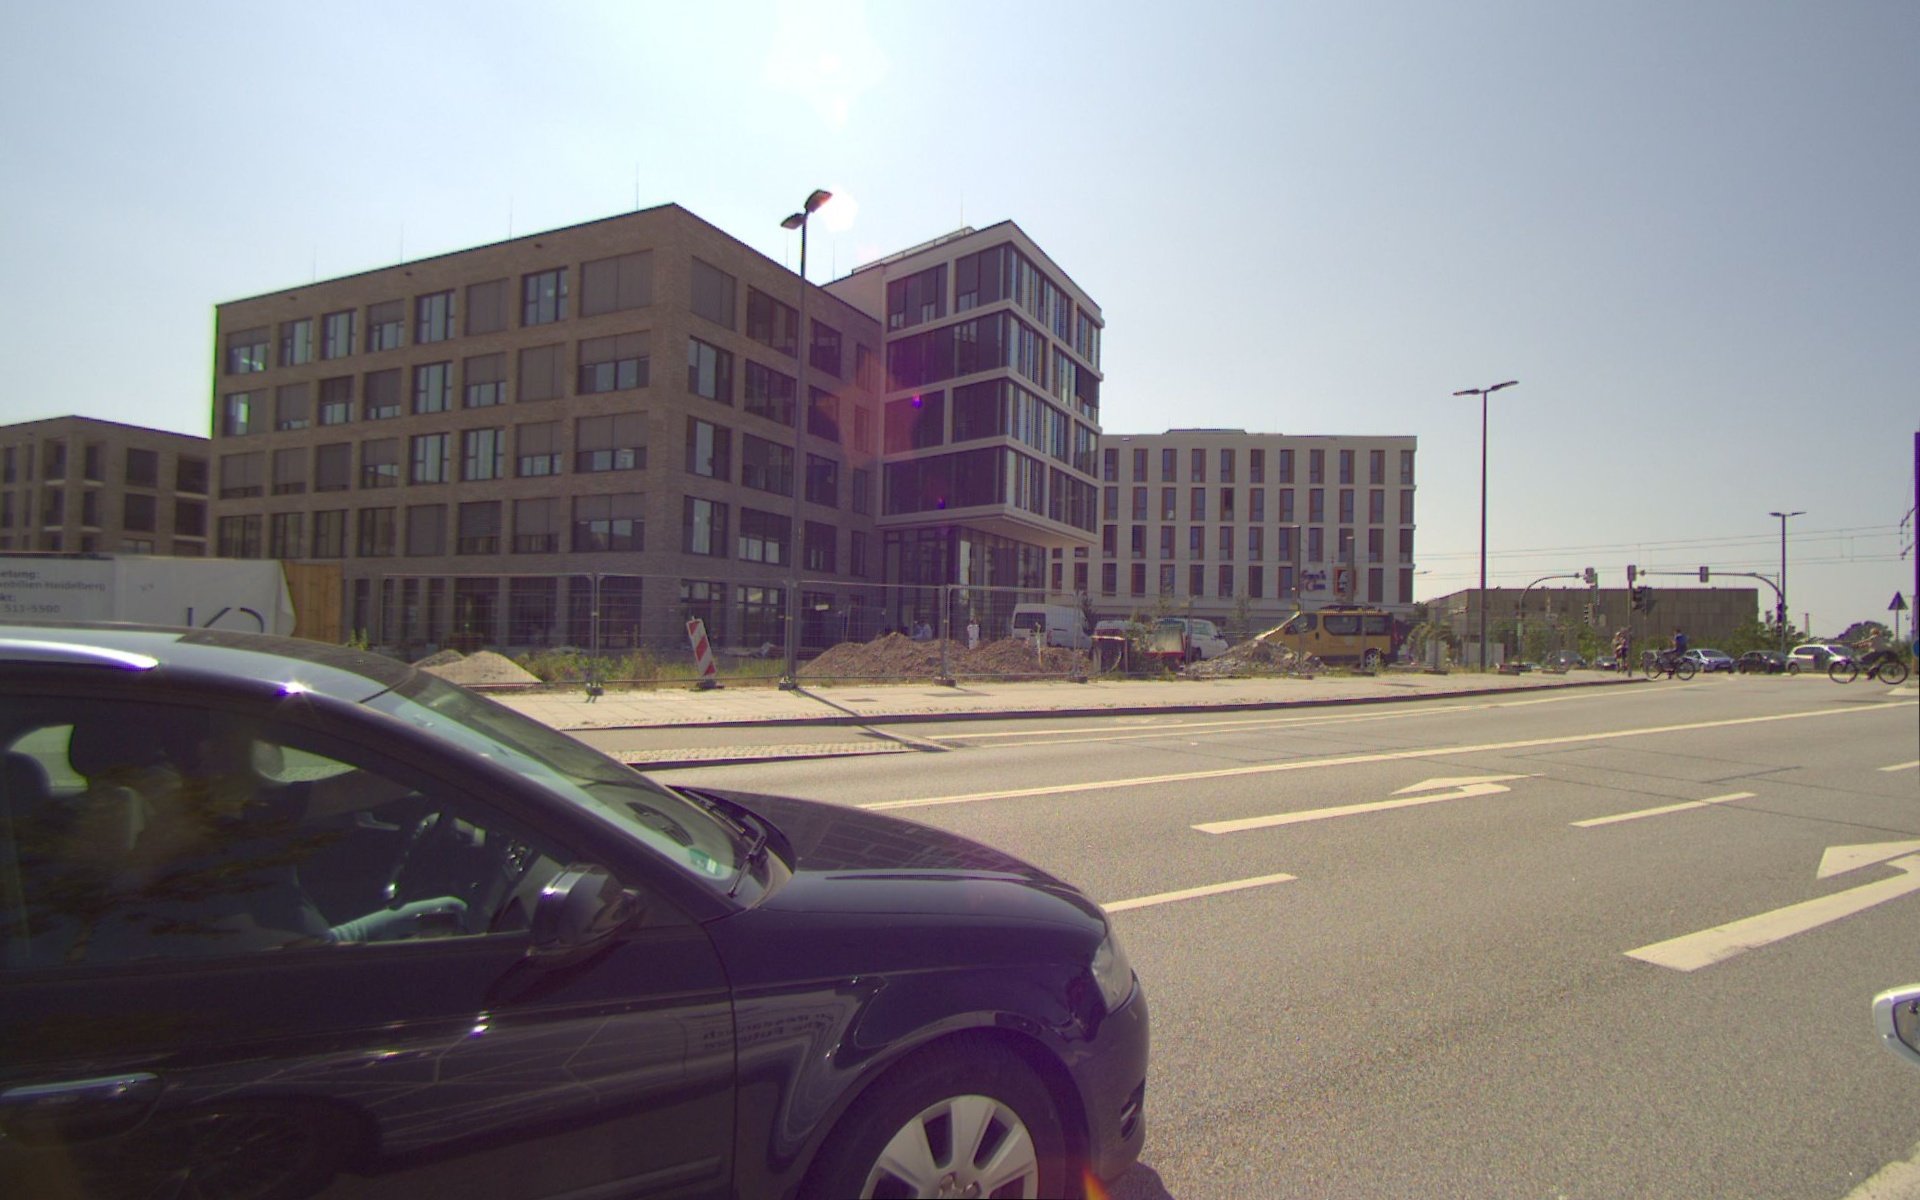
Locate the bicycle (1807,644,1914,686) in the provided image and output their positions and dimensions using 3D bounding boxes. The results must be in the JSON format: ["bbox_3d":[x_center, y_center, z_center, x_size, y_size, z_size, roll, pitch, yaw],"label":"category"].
[{"bbox_3d":[27.711,1.981,30.954,0.670,1.142,2.342,2,0,-34],"label":"bicycle"}]

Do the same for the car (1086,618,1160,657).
[{"bbox_3d":[7.138,1.598,43.678,1.773,1.528,3.991,2,0,31],"label":"car"}]

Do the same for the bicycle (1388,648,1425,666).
[{"bbox_3d":[31.306,4.013,70.441,2.279,1.148,0.637,2,-1,9],"label":"bicycle"}]

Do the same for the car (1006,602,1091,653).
[{"bbox_3d":[4.004,1.221,44.716,2.175,2.083,4.164,2,0,30],"label":"car"}]

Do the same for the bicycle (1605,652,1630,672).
[{"bbox_3d":[25.599,2.395,39.118,0.506,0.701,2.251,1,-1,26],"label":"bicycle"}]

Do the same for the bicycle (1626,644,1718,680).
[{"bbox_3d":[25.034,2.213,35.381,0.720,1.148,2.512,-1,-4,-32],"label":"bicycle"}]

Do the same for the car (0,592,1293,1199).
[{"bbox_3d":[-1.370,0.733,2.071,3.953,1.430,1.697,2,0,-30],"label":"car"}]

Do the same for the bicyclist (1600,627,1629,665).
[{"bbox_3d":[27.084,1.884,41.554,0.654,1.522,0.834,2,0,-40],"label":"bicyclist"}]

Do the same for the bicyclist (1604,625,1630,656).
[{"bbox_3d":[25.584,1.574,39.149,0.717,1.191,0.658,2,0,25],"label":"bicyclist"}]

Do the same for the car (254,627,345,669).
[{"bbox_3d":[-30.419,2.170,46.232,3.708,1.675,1.834,2,0,26],"label":"car"}]

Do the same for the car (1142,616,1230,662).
[{"bbox_3d":[9.533,1.613,42.152,1.969,1.730,4.546,2,0,35],"label":"car"}]

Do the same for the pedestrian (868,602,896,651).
[{"bbox_3d":[-3.385,1.128,43.370,0.949,2.040,0.940,2,0,-17],"label":"pedestrian"}]

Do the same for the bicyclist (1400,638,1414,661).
[{"bbox_3d":[31.355,3.481,70.440,0.706,1.524,0.825,2,0,9],"label":"bicyclist"}]

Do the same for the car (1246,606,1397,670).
[{"bbox_3d":[12.064,1.247,33.788,4.395,1.915,2.001,2,0,8],"label":"car"}]

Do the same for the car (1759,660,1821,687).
[{"bbox_3d":[44.206,3.891,53.537,1.254,1.257,2.485,2,-1,0],"label":"car"}]

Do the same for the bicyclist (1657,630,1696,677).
[{"bbox_3d":[25.136,1.875,35.239,0.854,1.580,0.818,2,0,-32],"label":"bicyclist"}]

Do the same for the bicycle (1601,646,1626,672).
[{"bbox_3d":[27.028,2.435,41.521,0.596,1.020,2.501,1,-1,39],"label":"bicycle"}]

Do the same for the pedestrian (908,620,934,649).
[{"bbox_3d":[-1.925,1.684,49.422,1.099,1.391,0.742,2,0,-17],"label":"pedestrian"}]

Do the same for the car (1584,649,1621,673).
[{"bbox_3d":[55.688,5.254,87.164,1.684,1.764,4.213,2,0,19],"label":"car"}]

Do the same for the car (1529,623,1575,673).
[{"bbox_3d":[26.259,2.080,44.648,1.645,2.040,3.993,2,0,30],"label":"car"}]

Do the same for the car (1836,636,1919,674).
[{"bbox_3d":[45.331,2.654,48.744,1.830,1.650,3.808,2,0,-22],"label":"car"}]

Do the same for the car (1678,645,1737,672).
[{"bbox_3d":[45.916,3.590,61.732,1.554,1.458,3.156,2,0,9],"label":"car"}]

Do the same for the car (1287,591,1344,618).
[{"bbox_3d":[29.006,0.364,82.018,1.986,2.040,3.949,2,0,-43],"label":"car"}]

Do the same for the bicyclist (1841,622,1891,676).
[{"bbox_3d":[27.813,1.507,30.848,0.814,1.589,0.939,2,0,-34],"label":"bicyclist"}]

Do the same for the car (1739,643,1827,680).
[{"bbox_3d":[49.597,3.667,60.637,1.961,2.040,4.000,1,-1,0],"label":"car"}]

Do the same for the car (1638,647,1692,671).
[{"bbox_3d":[52.556,4.359,74.993,1.960,1.475,4.487,2,0,17],"label":"car"}]
